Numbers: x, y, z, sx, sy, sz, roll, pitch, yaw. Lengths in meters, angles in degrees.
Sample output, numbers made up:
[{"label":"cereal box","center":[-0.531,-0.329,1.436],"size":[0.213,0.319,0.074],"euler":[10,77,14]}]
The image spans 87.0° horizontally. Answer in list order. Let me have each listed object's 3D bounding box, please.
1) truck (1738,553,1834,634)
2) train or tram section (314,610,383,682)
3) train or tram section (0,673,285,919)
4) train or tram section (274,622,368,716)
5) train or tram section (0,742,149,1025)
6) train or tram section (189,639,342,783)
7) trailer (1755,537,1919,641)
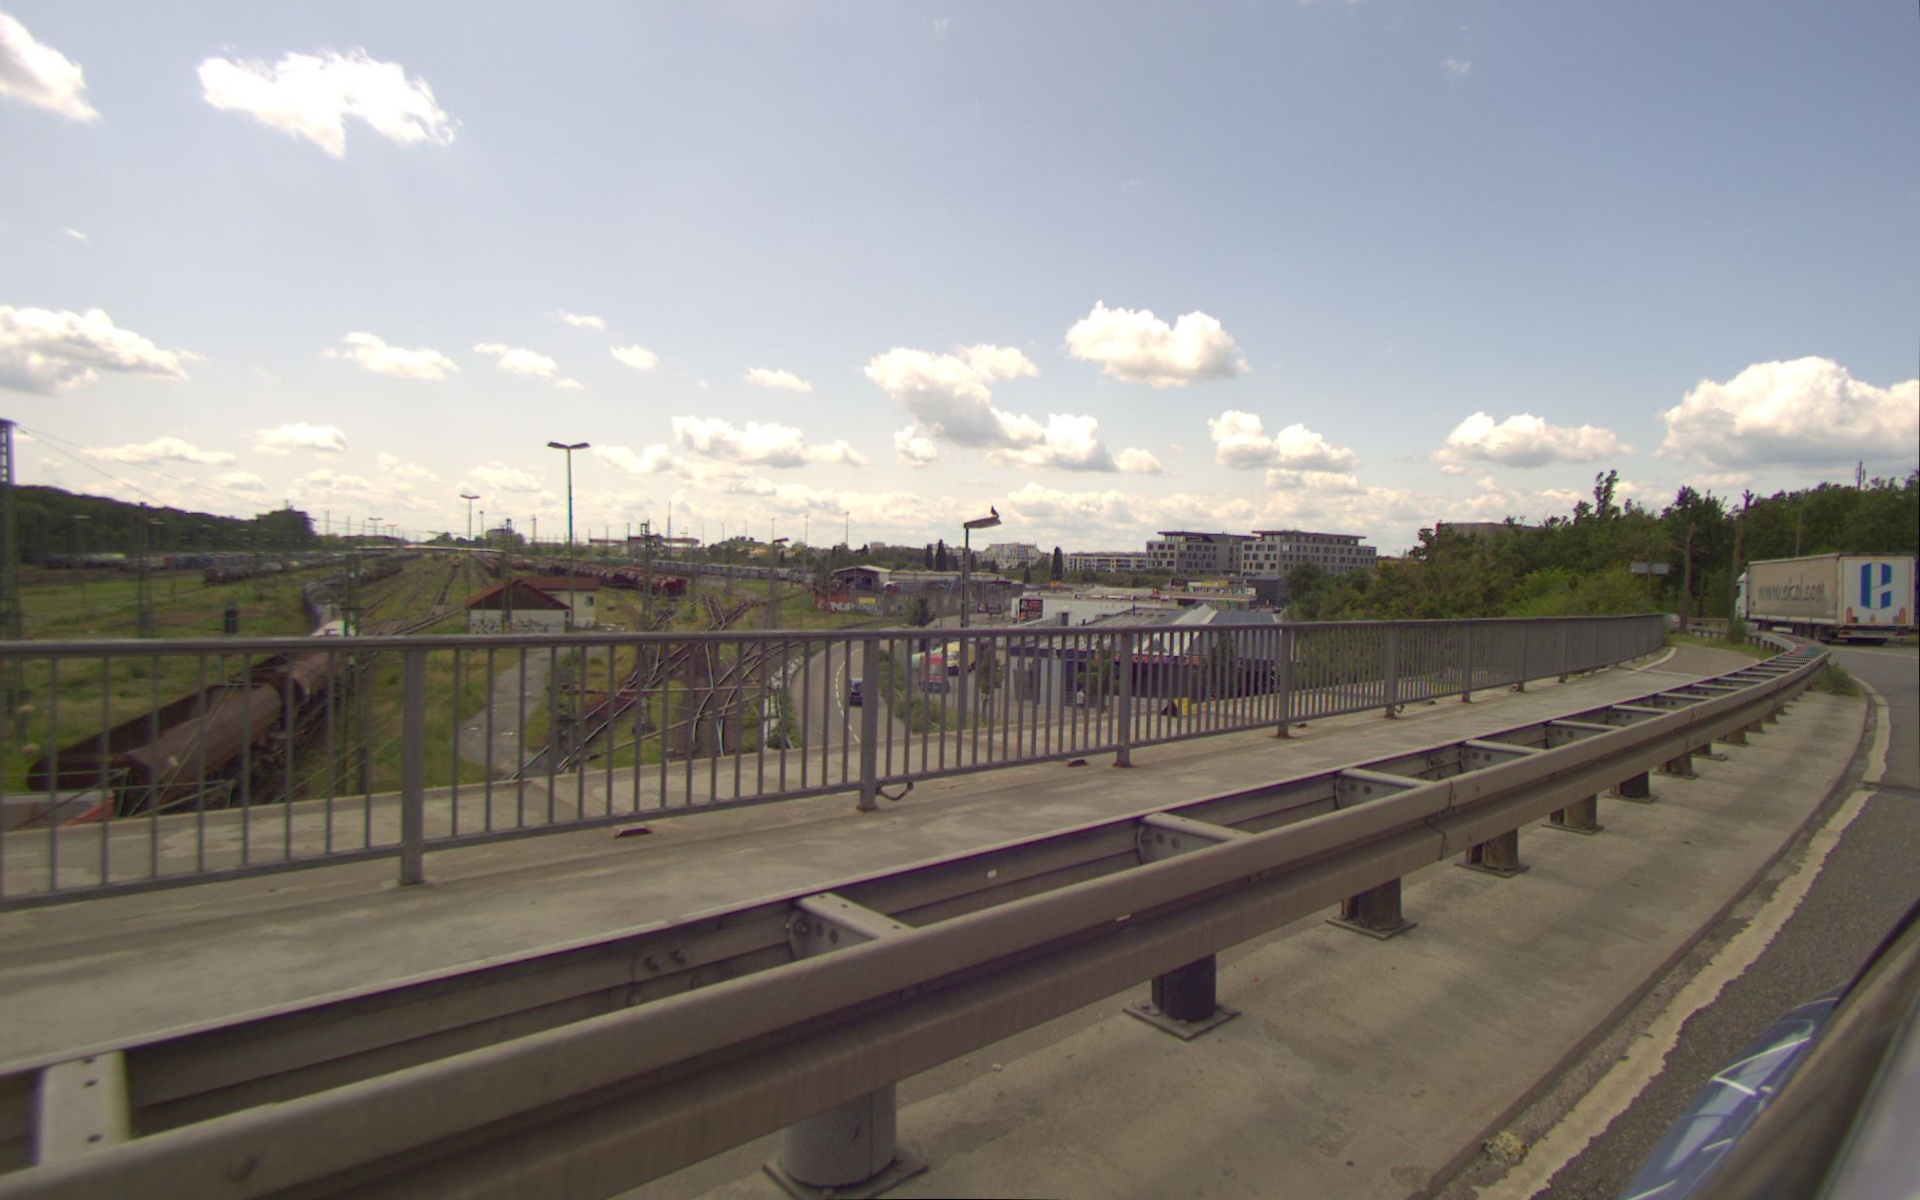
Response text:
[{"label":"truck","center":[45.239,-0.349,55.601],"size":[2.741,4.187,5.604],"euler":[0,0,25]},{"label":"train or tram section","center":[-49.003,3.427,81.589],"size":[3.148,4.202,17.730],"euler":[-3,3,-26]},{"label":"train or tram section","center":[-26.045,5.527,33.608],"size":[3.076,4.202,16.644],"euler":[-3,3,-24]},{"label":"train or tram section","center":[-41.301,4.115,66.001],"size":[3.153,4.202,16.997],"euler":[-3,3,-26]},{"label":"train or tram section","center":[-20.517,6.120,20.202],"size":[3.064,4.202,12.096],"euler":[-2,3,-21]},{"label":"train or tram section","center":[-33.489,4.831,49.843],"size":[3.155,4.202,18.937],"euler":[-3,3,-25]},{"label":"trailer","center":[42.113,-0.482,48.847],"size":[2.687,4.334,14.107],"euler":[0,0,25]}]
